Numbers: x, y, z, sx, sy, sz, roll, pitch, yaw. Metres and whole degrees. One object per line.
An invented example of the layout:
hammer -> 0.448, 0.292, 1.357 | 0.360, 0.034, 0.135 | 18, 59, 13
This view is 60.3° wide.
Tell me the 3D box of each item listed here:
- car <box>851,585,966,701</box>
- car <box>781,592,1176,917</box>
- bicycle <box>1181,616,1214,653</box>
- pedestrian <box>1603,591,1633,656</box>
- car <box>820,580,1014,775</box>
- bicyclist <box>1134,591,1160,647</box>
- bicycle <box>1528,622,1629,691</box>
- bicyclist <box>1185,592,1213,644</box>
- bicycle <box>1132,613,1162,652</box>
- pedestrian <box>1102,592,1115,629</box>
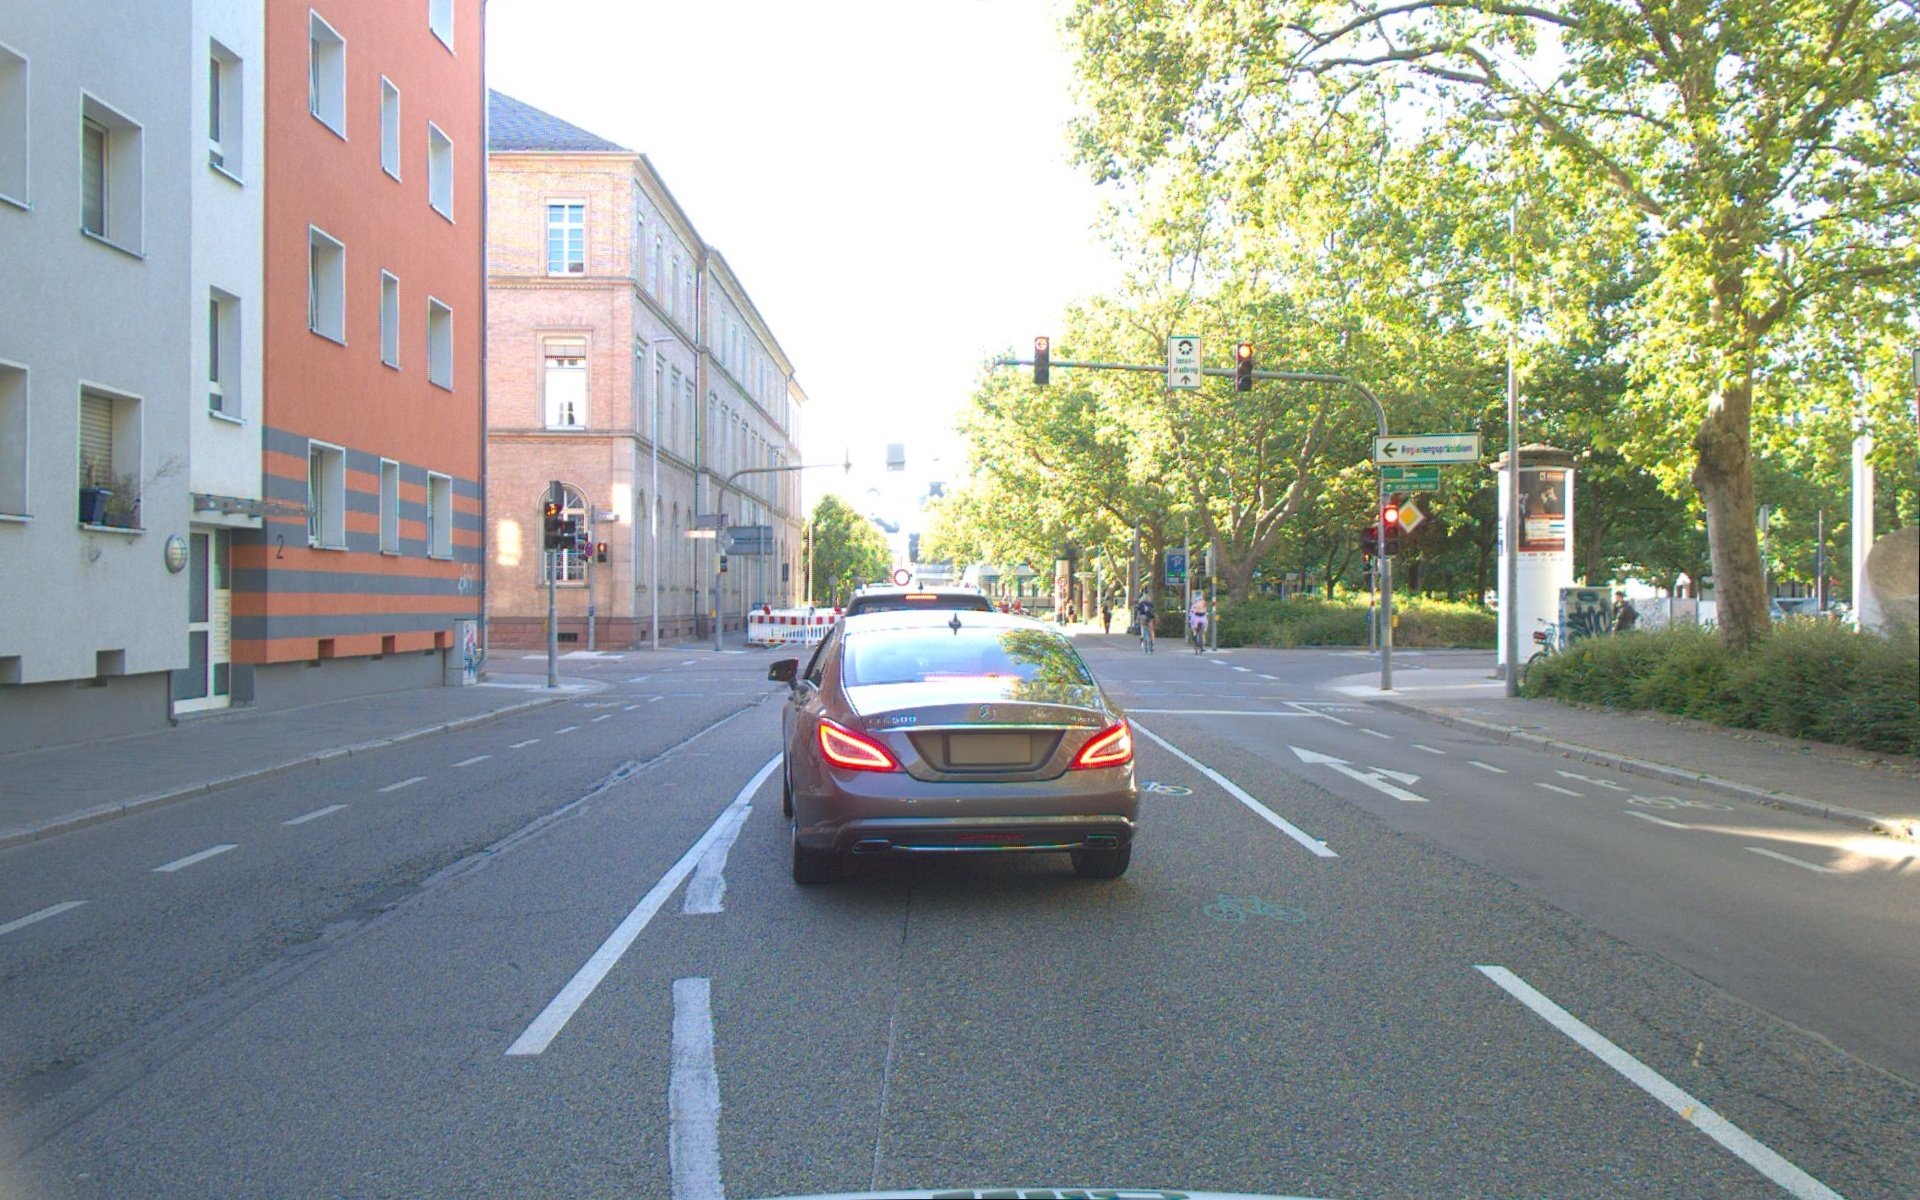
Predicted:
car -> -0.802, 0.617, 25.496 | 1.647, 1.653, 3.839 | 0, 0, -2
car -> -0.130, 0.718, 9.945 | 1.787, 1.502, 4.346 | 0, 0, -8
bicycle -> 6.684, 0.961, 46.578 | 0.588, 1.002, 1.881 | 2, 0, -1
pedestrian -> 18.656, 0.663, 46.906 | 0.607, 1.815, 0.630 | 0, 0, 1
car -> -0.433, 0.661, 16.003 | 1.647, 1.653, 3.839 | 0, 0, -2
bicyclist -> 5.260, 0.527, 46.508 | 0.598, 1.542, 0.889 | 1, 0, -1
bicycle -> 9.688, 0.879, 25.934 | 1.387, 1.055, 0.538 | 0, 0, -5
bicyclist -> 6.708, 0.501, 46.446 | 0.588, 1.426, 0.931 | 2, 0, -1
bicycle -> 5.255, 0.898, 46.479 | 0.598, 1.044, 1.731 | 1, 0, -1
pedestrian -> 6.969, 0.503, 77.597 | 0.548, 1.707, 0.564 | 0, 0, -1
